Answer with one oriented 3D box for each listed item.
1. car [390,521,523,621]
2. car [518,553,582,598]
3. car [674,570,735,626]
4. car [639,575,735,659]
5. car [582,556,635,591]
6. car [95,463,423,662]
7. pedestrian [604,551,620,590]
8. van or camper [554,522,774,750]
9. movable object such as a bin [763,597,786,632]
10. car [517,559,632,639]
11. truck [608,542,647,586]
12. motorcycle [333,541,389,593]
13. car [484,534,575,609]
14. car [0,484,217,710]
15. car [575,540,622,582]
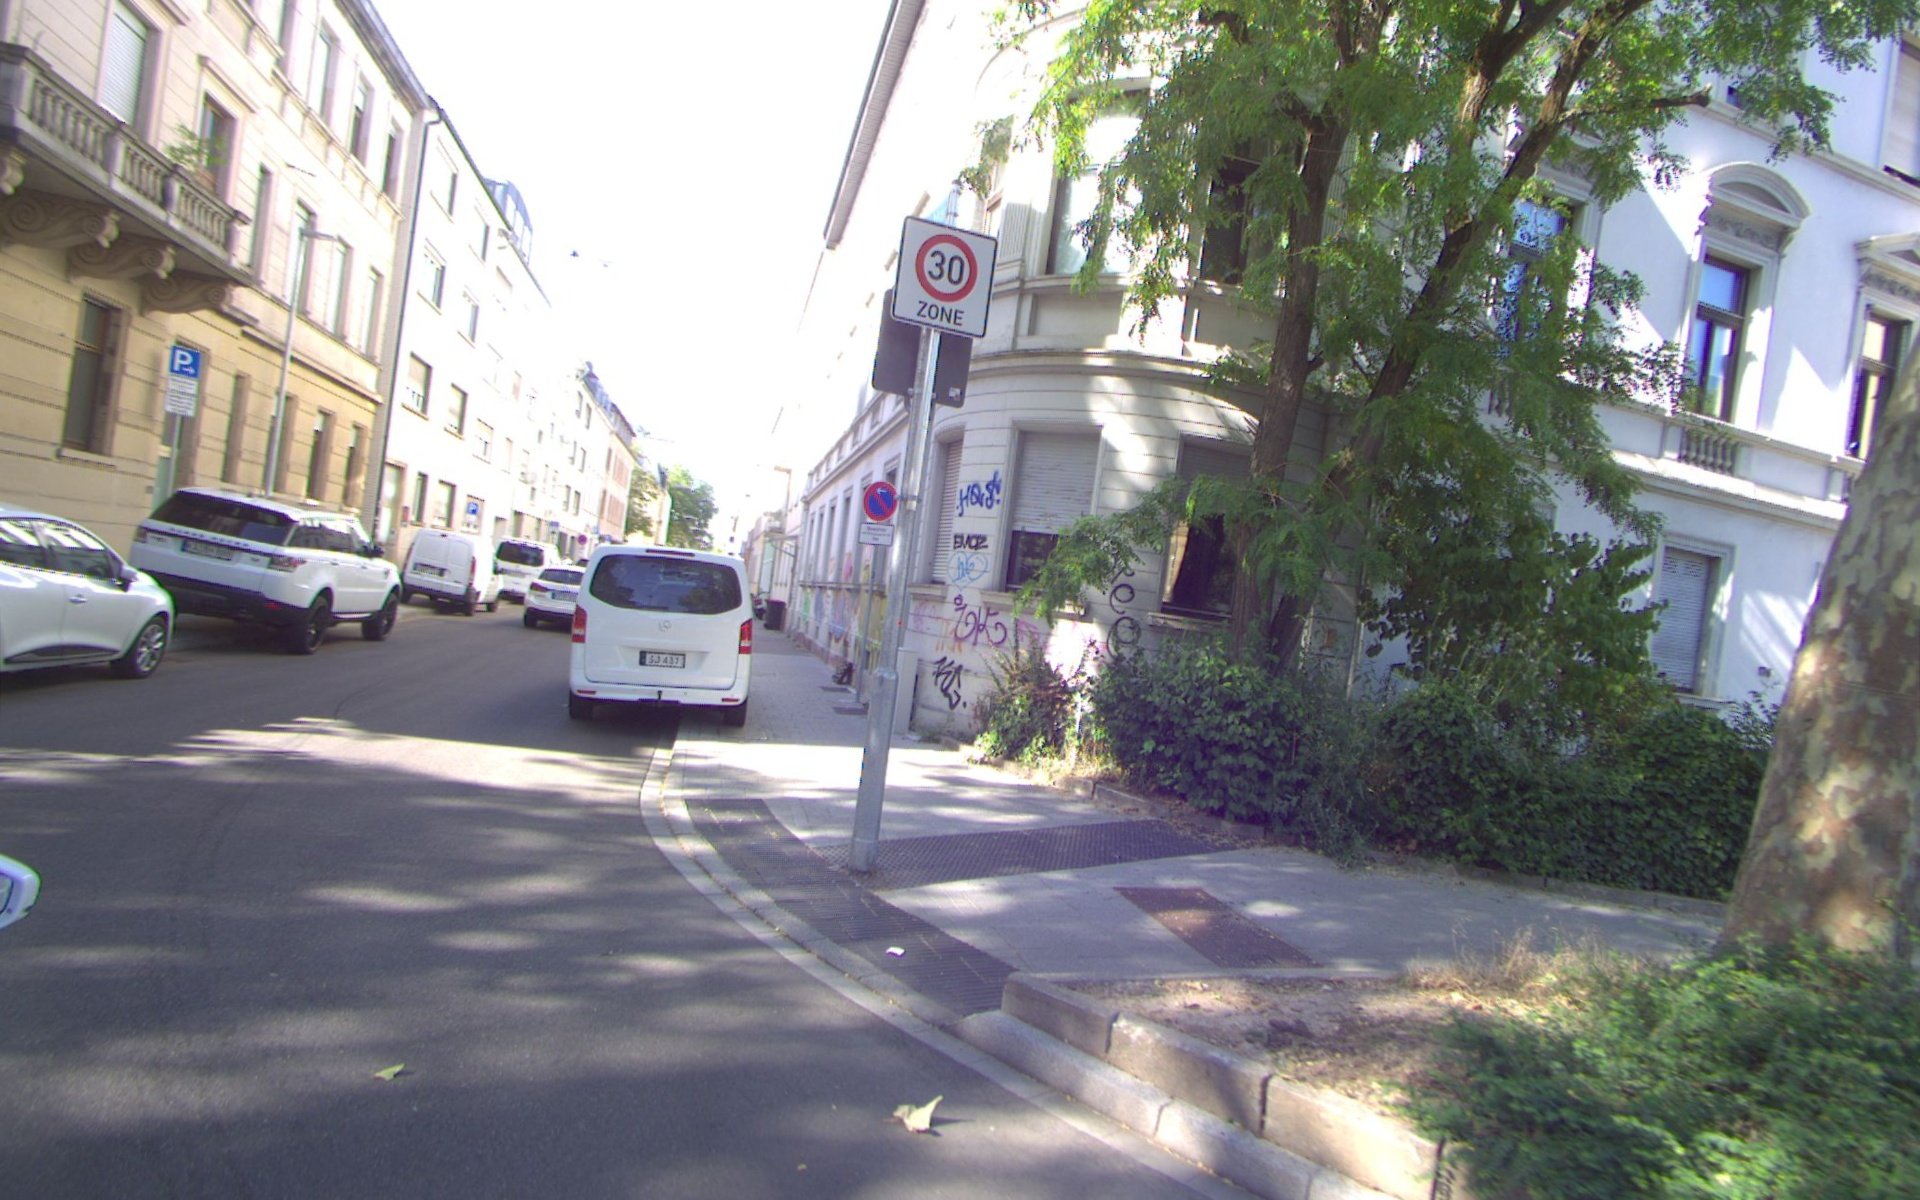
[{"bbox_3d":[-12.071,-0.699,24.406,1.725,1.897,4.077,11,-1,-14],"label":"car"},{"bbox_3d":[-16.545,-0.986,40.769,1.686,1.467,4.288,9,-1,-15],"label":"car"},{"bbox_3d":[-10.025,-0.128,39.571,1.981,1.805,4.924,8,0,-14],"label":"car"},{"bbox_3d":[-6.434,0.317,23.998,1.793,1.537,4.713,10,-1,-14],"label":"car"},{"bbox_3d":[-21.797,-1.627,62.632,2.411,1.726,5.228,8,-1,-14],"label":"car"},{"bbox_3d":[-9.252,-0.444,13.845,1.997,2.038,4.531,8,-1,-14],"label":"car"},{"bbox_3d":[-21.021,-1.793,60.733,0.611,2.255,0.686,7,-1,-14],"label":"pedestrian"},{"bbox_3d":[-3.574,0.318,12.395,1.871,2.038,5.014,8,0,-16],"label":"van or camper"},{"bbox_3d":[-6.614,0.509,35.887,0.643,1.159,0.462,7,-1,-7],"label":"movable object such as a bin"},{"bbox_3d":[-8.855,-0.059,23.422,1.810,1.504,4.046,6,0,-13],"label":"car"},{"bbox_3d":[-23.139,-2.442,70.038,2.132,2.620,6.227,7,-2,-18],"label":"truck"},{"bbox_3d":[-15.036,-0.819,25.297,0.421,1.214,2.137,7,0,-12],"label":"motorcycle"},{"bbox_3d":[-14.108,-0.932,33.203,1.873,1.981,4.765,10,-1,-16],"label":"car"},{"bbox_3d":[-7.923,-0.156,7.925,1.846,1.578,3.930,10,-2,-15],"label":"car"},{"bbox_3d":[-19.312,-2.081,53.927,1.860,1.775,4.525,11,-1,-17],"label":"car"}]
